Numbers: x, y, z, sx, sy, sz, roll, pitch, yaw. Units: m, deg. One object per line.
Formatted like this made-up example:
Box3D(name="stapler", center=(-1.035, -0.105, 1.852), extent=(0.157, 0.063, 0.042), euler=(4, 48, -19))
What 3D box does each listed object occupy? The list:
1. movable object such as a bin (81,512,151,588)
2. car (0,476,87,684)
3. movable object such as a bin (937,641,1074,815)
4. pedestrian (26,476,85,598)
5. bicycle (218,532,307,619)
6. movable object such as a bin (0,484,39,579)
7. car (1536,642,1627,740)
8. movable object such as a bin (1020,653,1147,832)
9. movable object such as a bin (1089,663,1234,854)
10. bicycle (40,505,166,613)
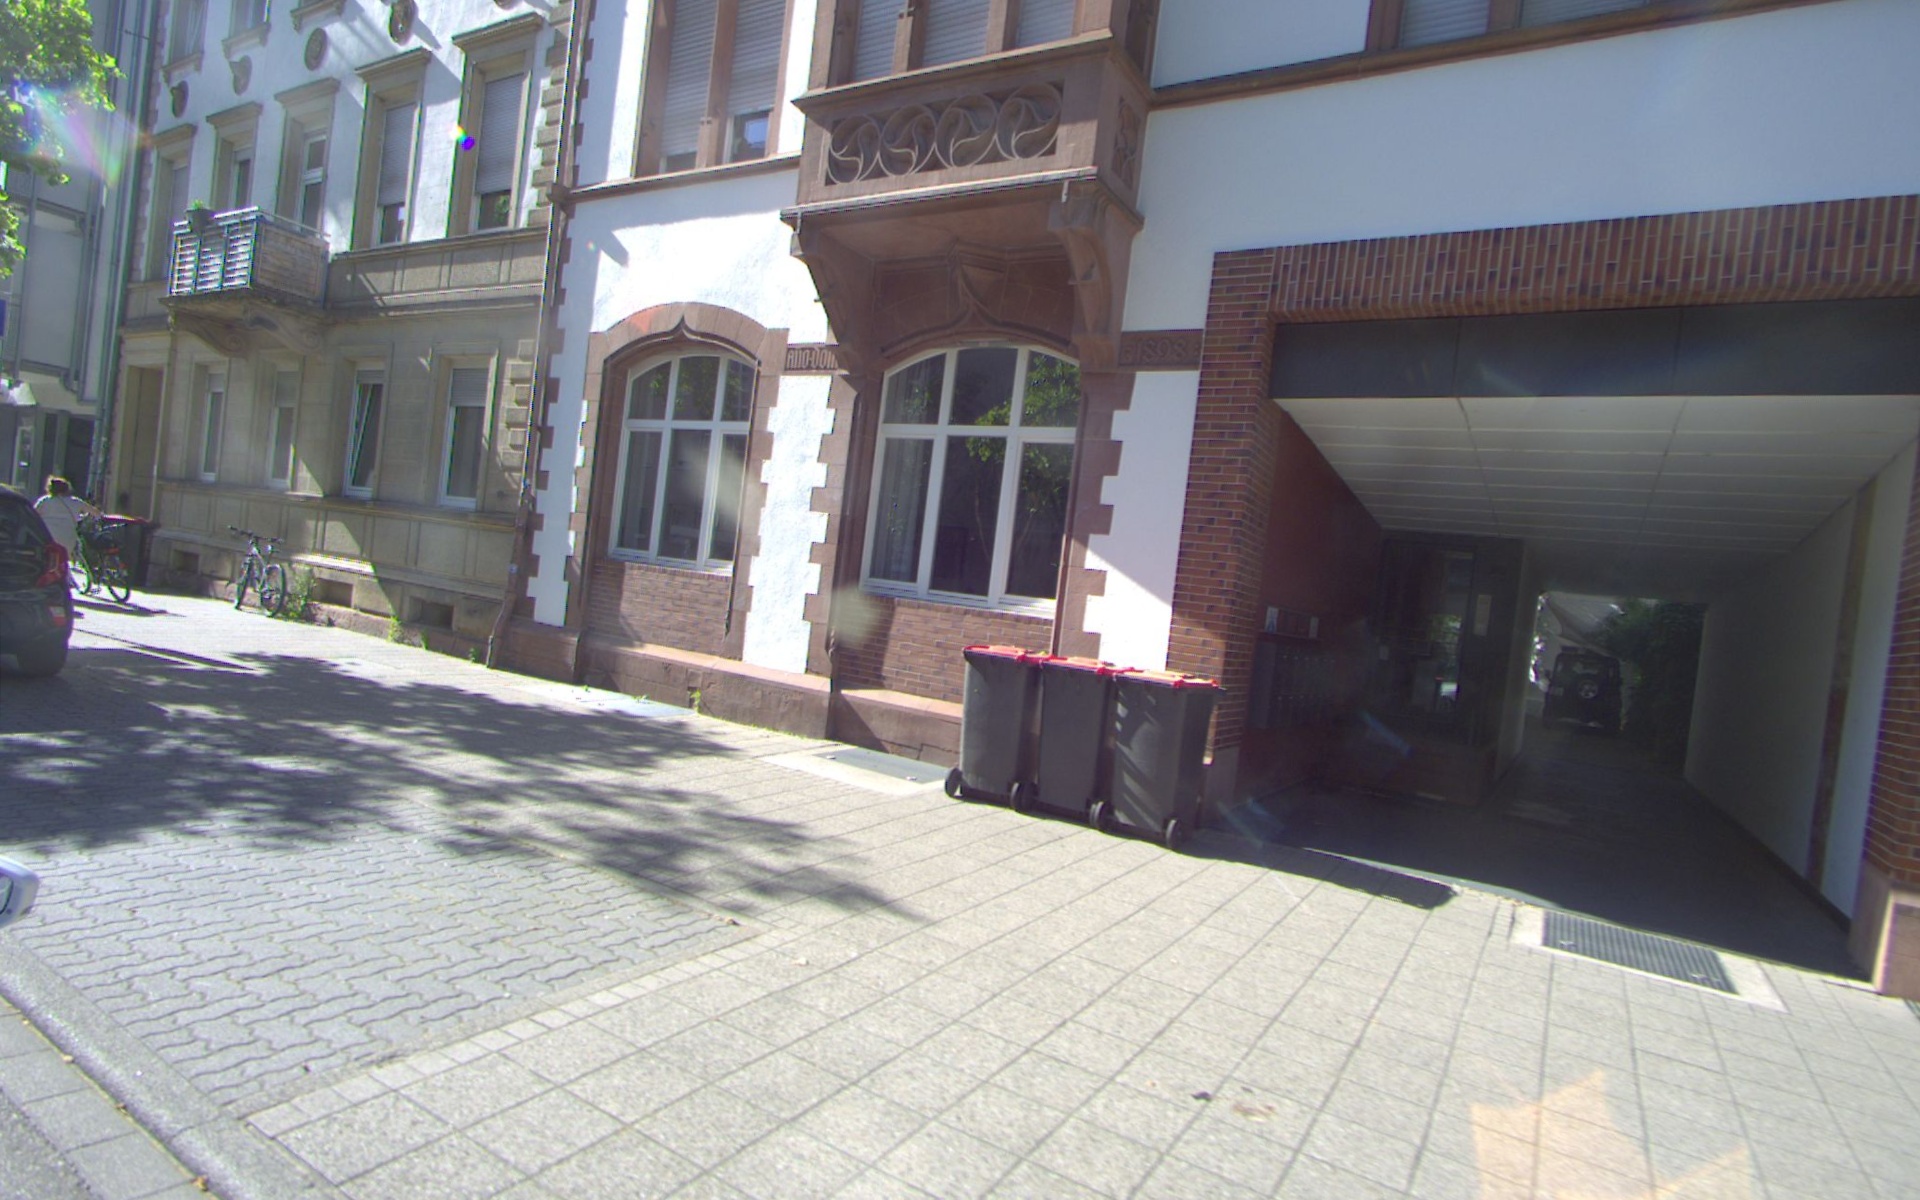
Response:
Box3D(name="movable object such as a bin", center=(-12.795, -0.752, 15.251), extent=(0.537, 1.055, 0.599), euler=(7, 1, 31))
Box3D(name="car", center=(-8.595, -0.347, 7.804), extent=(3.519, 1.494, 1.638), euler=(7, 1, 30))
Box3D(name="movable object such as a bin", center=(0.327, 0.874, 7.091), extent=(0.621, 1.082, 0.638), euler=(7, 1, 31))
Box3D(name="pedestrian", center=(-11.530, -0.796, 12.827), extent=(0.383, 1.488, 0.368), euler=(8, 2, 30))
Box3D(name="bicycle", center=(-9.492, -0.341, 13.667), extent=(1.404, 1.045, 0.432), euler=(7, 4, 31))
Box3D(name="movable object such as a bin", center=(-14.425, -1.053, 14.647), extent=(1.027, 1.364, 1.104), euler=(7, 0, -19))
Box3D(name="car", center=(16.159, 2.339, 26.319), extent=(1.644, 2.169, 3.994), euler=(7, 0, 30))
Box3D(name="movable object such as a bin", center=(0.847, 0.941, 6.829), extent=(0.513, 1.082, 0.638), euler=(8, 1, 31))
Box3D(name="movable object such as a bin", center=(1.318, 0.997, 6.546), extent=(0.628, 1.082, 0.638), euler=(7, 1, 31))
Box3D(name="bicycle", center=(-11.160, -0.550, 13.075), extent=(2.088, 1.163, 0.537), euler=(7, 1, 31))
